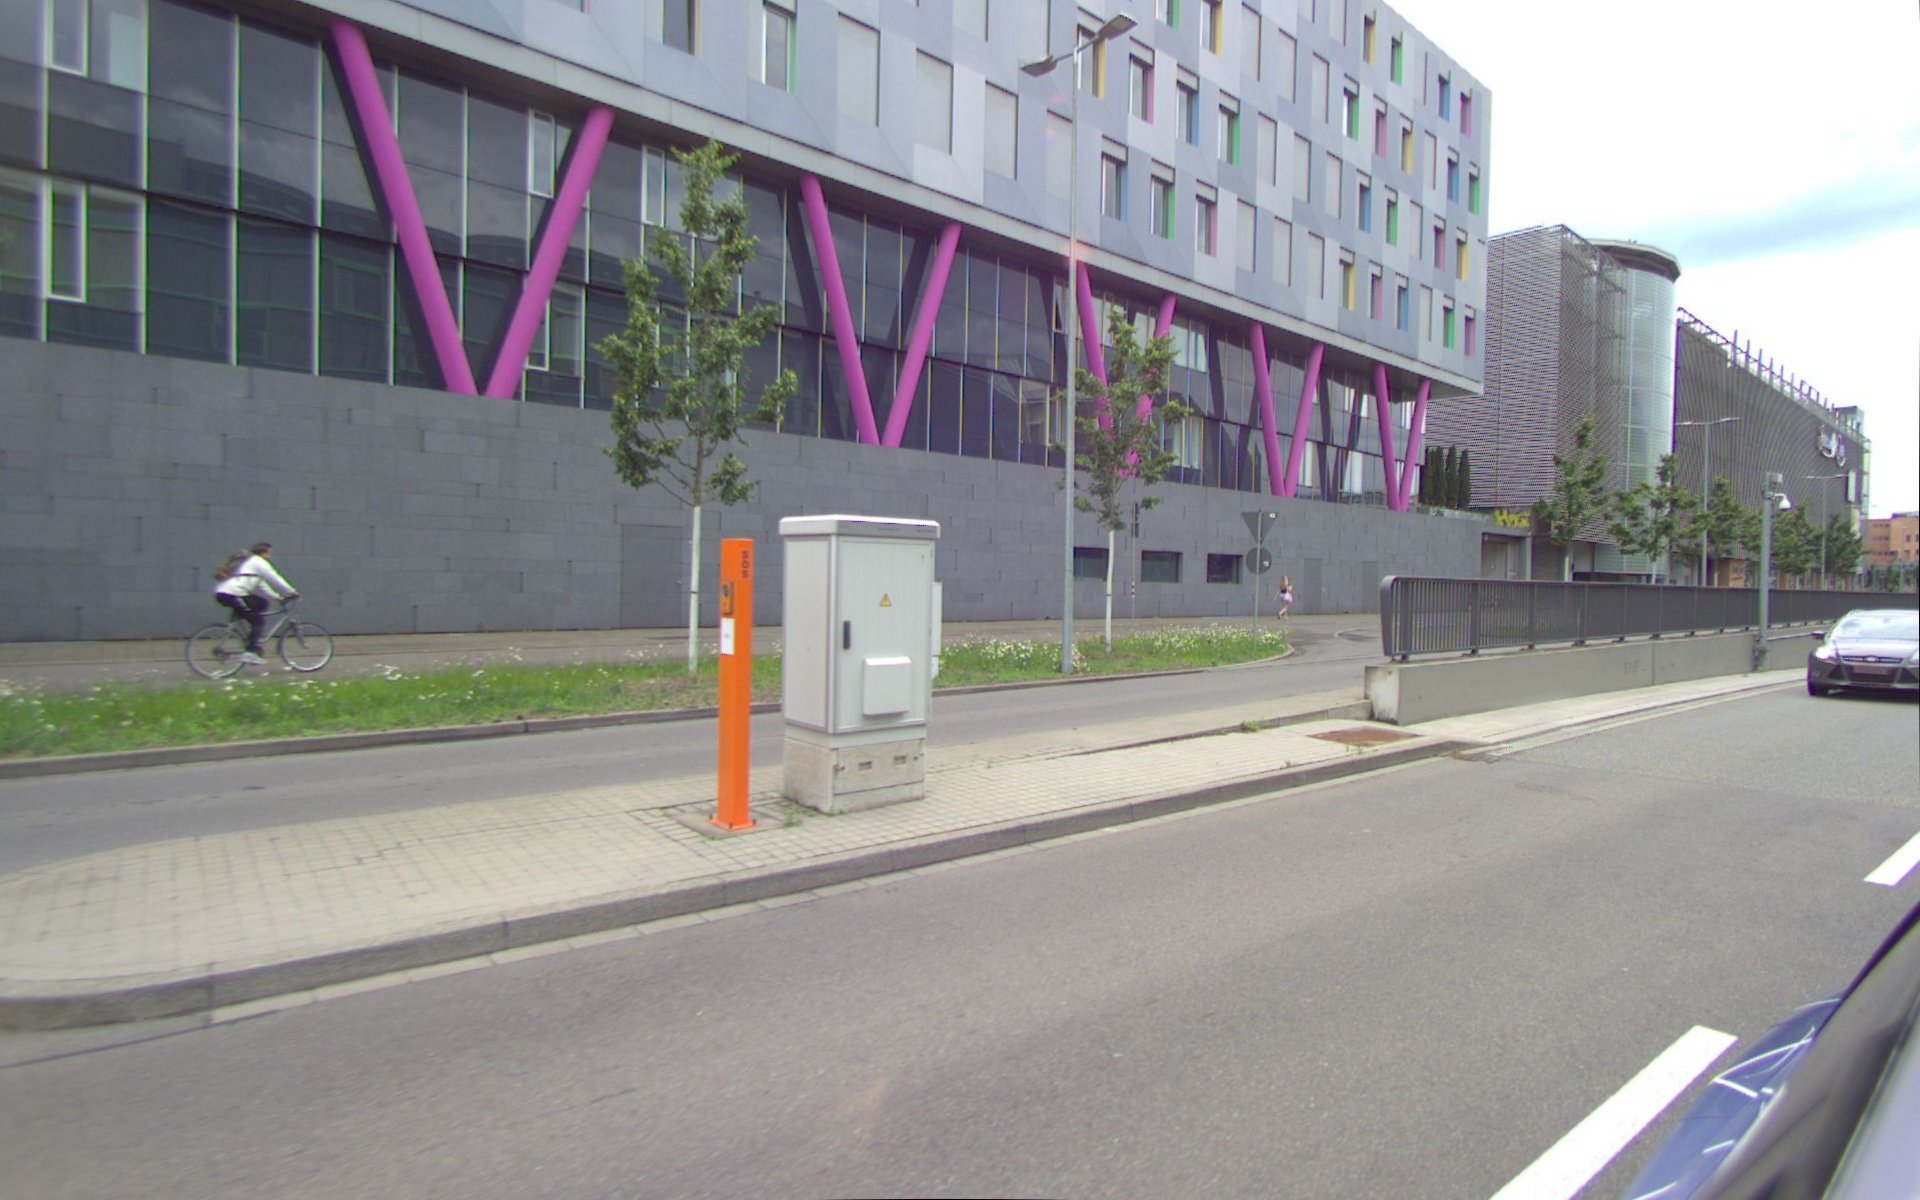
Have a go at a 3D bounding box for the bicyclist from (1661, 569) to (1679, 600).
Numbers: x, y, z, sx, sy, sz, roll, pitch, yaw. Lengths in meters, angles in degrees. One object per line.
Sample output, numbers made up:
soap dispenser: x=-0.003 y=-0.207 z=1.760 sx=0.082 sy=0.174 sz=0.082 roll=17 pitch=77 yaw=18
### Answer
bicyclist: x=43.931 y=-0.960 z=62.616 sx=0.692 sy=1.826 sz=0.783 roll=5 pitch=-3 yaw=-41

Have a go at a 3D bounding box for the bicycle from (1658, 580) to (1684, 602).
bicycle: x=44.119 y=-0.563 z=62.793 sx=2.303 sy=1.173 sz=0.800 roll=5 pitch=-3 yaw=-42

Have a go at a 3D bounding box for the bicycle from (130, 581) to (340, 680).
bicycle: x=-9.706 y=0.371 z=13.621 sx=0.783 sy=1.209 sz=2.186 roll=2 pitch=1 yaw=42

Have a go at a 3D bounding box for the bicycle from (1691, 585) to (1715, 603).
bicycle: x=48.886 y=-0.380 z=66.602 sx=2.304 sy=1.173 sz=0.800 roll=1 pitch=0 yaw=-42

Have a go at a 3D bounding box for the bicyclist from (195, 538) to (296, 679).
bicyclist: x=-9.652 y=0.098 z=13.676 sx=0.770 sy=1.809 sz=0.959 roll=2 pitch=1 yaw=43

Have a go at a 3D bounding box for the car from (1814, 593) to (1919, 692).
car: x=16.131 y=0.746 z=17.252 sx=4.192 sy=1.518 sz=1.751 roll=3 pitch=-1 yaw=-41

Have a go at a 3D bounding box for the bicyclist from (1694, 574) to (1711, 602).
bicyclist: x=48.868 y=-0.798 z=66.577 sx=0.692 sy=1.825 sz=0.783 roll=1 pitch=0 yaw=-41
